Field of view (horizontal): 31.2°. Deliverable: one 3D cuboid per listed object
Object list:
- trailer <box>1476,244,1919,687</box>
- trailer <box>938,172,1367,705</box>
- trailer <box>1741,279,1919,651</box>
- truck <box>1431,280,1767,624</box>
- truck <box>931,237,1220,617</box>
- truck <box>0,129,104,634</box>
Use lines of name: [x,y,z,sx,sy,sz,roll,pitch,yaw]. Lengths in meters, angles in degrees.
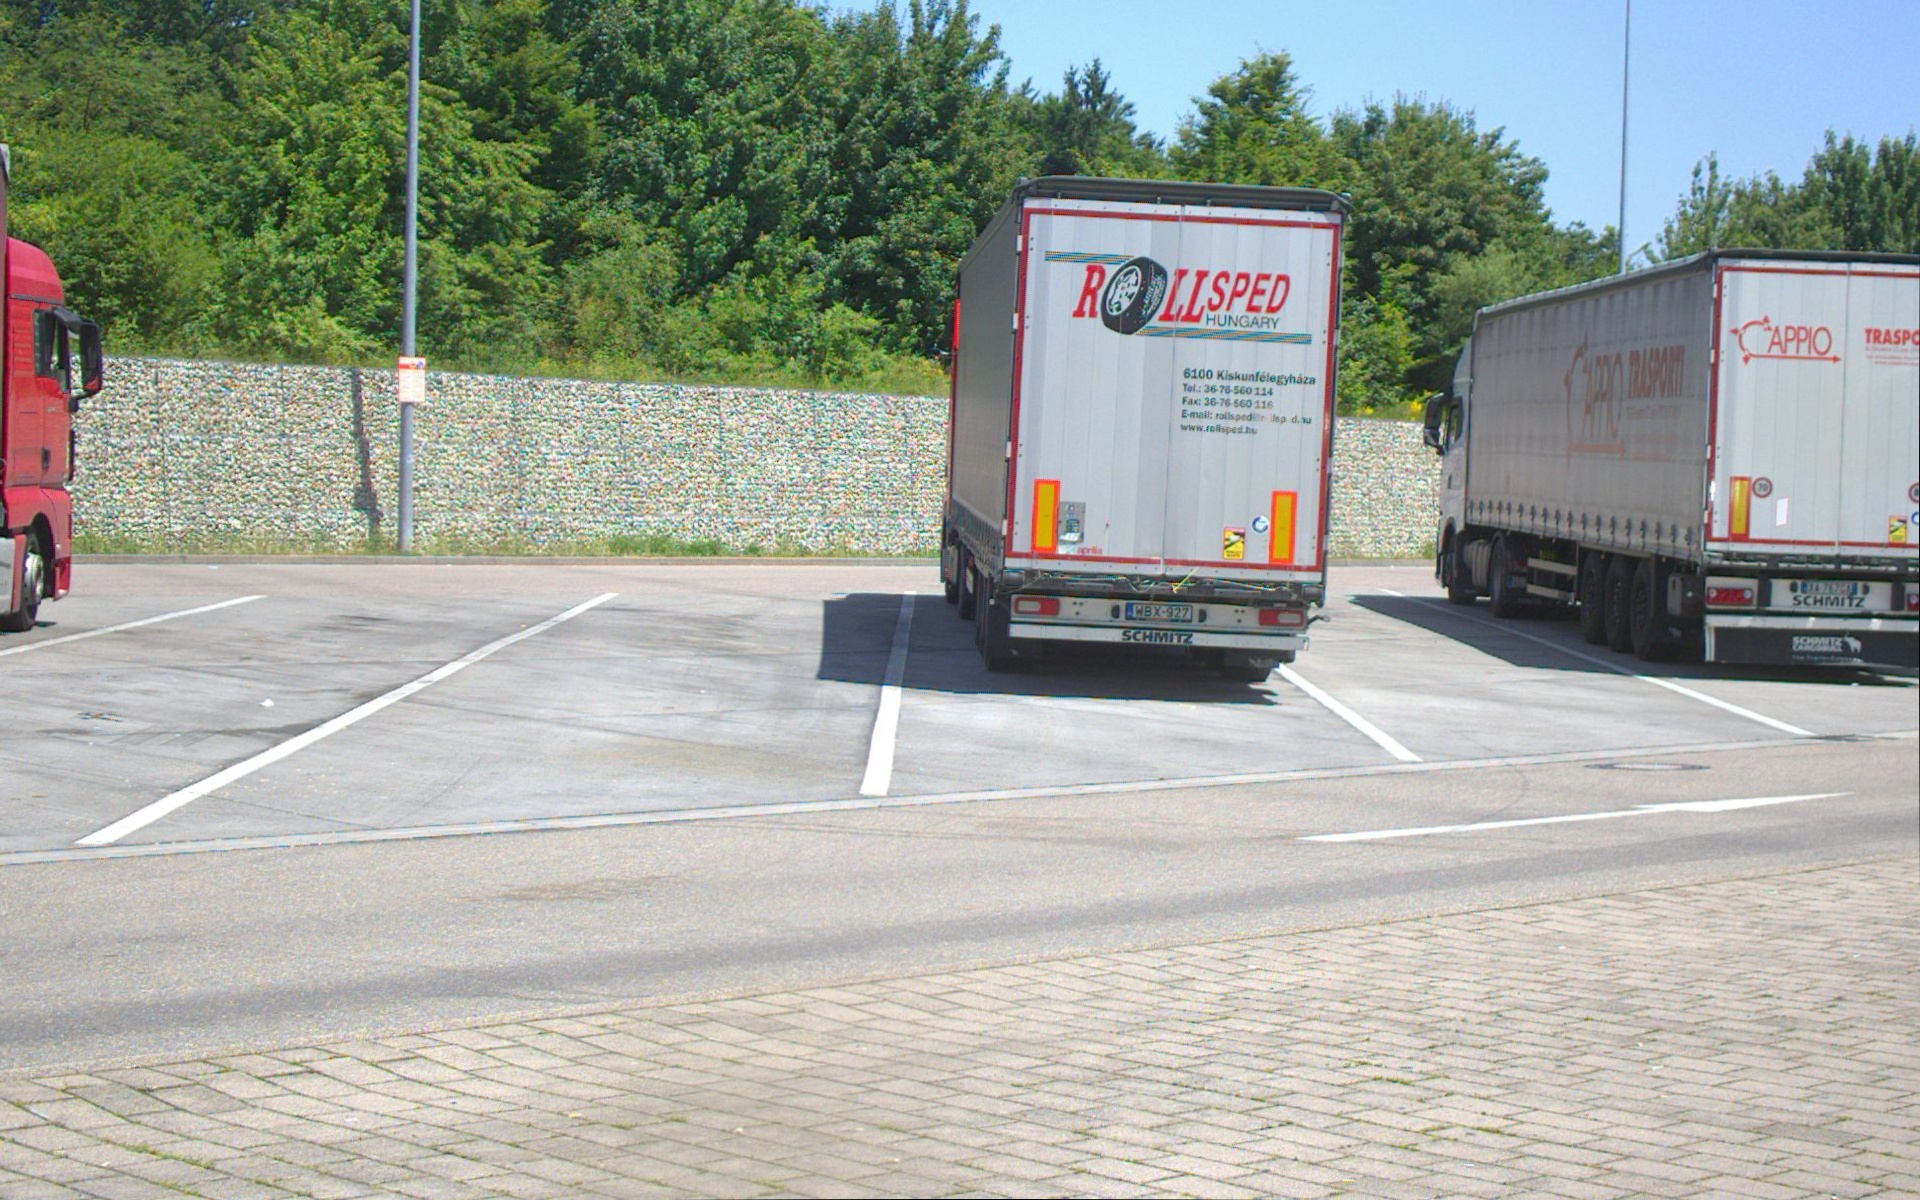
trailer: [8.178,-1.573,37.965,2.866,4.023,12.439,2,3,0]
trailer: [1.434,-1.639,33.626,2.866,4.023,14.243,2,3,-2]
trailer: [11.833,-1.534,39.029,2.866,4.023,12.439,2,3,0]
truck: [8.117,-1.956,44.592,2.866,4.023,6.957,2,3,0]
truck: [1.221,-2.058,40.705,2.866,4.023,7.028,2,3,-2]
truck: [-9.153,-1.812,27.986,2.696,4.099,6.240,2,3,0]
